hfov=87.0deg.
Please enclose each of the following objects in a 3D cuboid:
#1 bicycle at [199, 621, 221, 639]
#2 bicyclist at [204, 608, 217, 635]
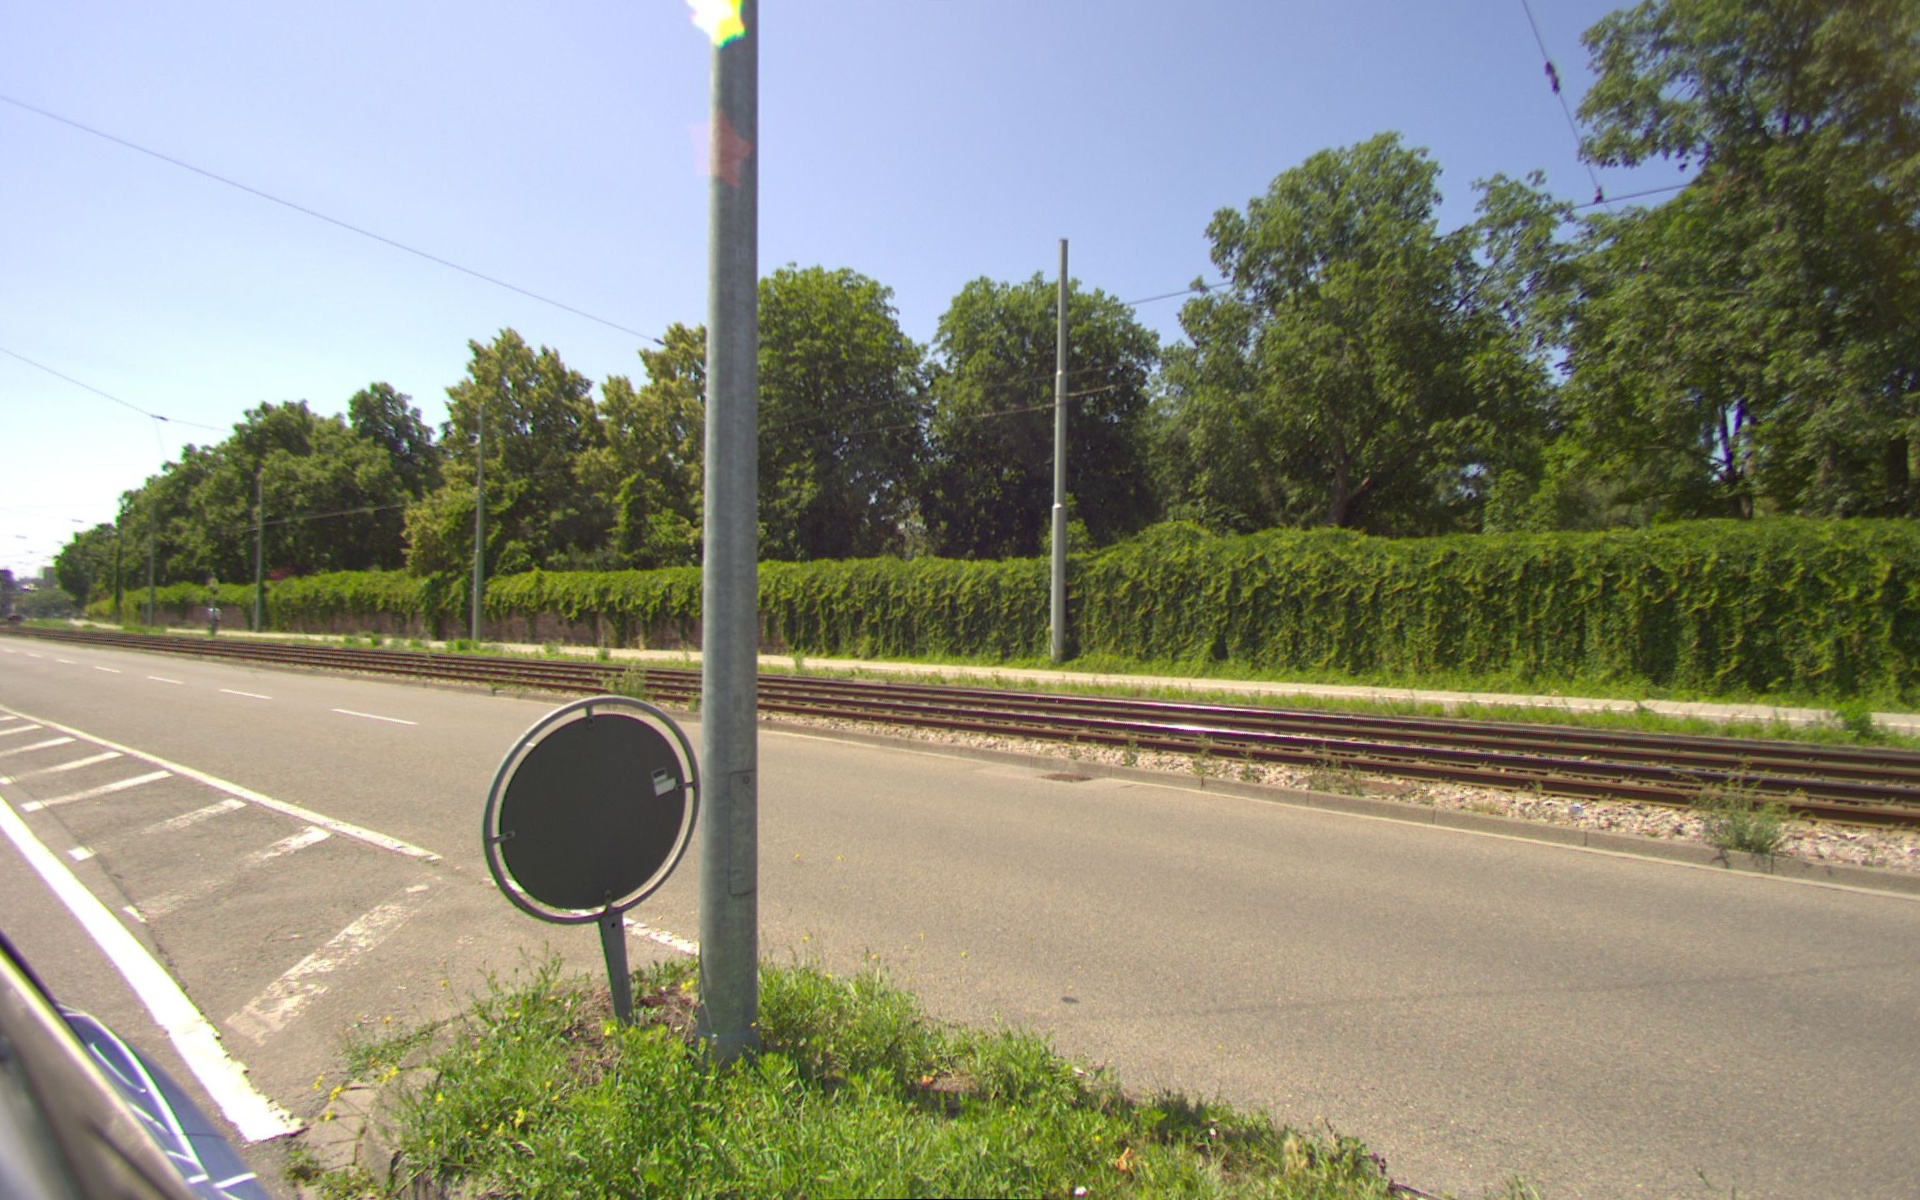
[{"bbox_3d":[-46.112,1.862,62.197,1.976,1.063,0.610,0,0,39],"label":"bicycle"},{"bbox_3d":[-46.029,1.324,62.138,0.768,1.624,0.477,0,0,40],"label":"bicyclist"}]
